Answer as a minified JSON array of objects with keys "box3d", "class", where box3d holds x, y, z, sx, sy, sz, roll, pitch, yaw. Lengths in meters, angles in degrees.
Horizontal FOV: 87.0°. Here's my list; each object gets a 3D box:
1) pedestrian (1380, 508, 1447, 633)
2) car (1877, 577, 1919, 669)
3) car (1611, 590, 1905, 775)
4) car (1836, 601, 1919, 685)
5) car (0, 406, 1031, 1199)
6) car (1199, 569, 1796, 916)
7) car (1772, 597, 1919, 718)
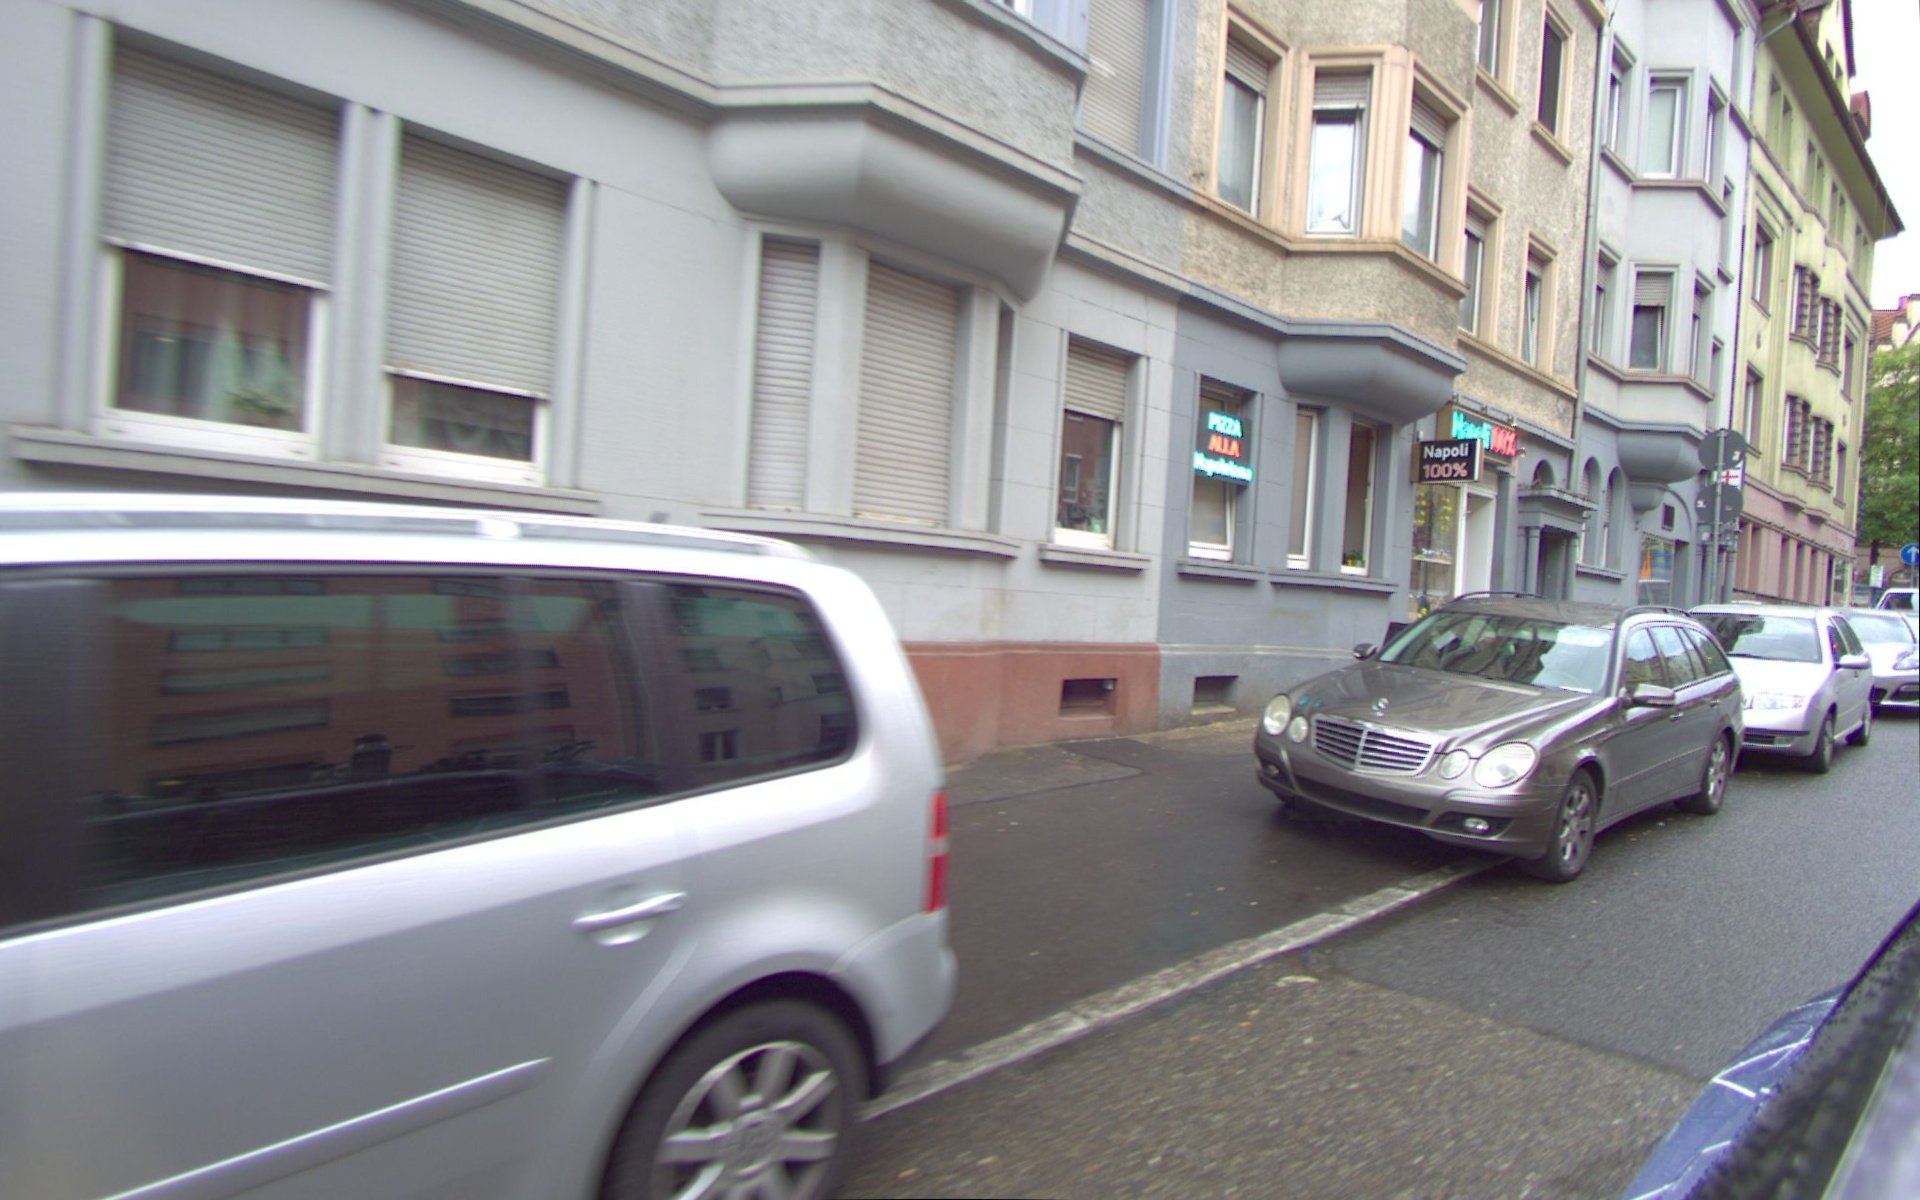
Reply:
[{"box3d":[6.115,-0.400,13.654,0.612,1.639,0.418,2,2,-10],"class":"pedestrian"},{"box3d":[21.874,0.523,22.220,4.921,1.849,1.924,0,3,-41],"class":"car"},{"box3d":[8.189,0.685,10.265,3.945,1.493,1.614,0,1,-41],"class":"car"},{"box3d":[17.628,0.744,18.615,4.201,1.392,1.681,0,1,-41],"class":"car"},{"box3d":[-2.013,0.518,1.845,4.213,1.690,1.730,0,4,-41],"class":"car"},{"box3d":[3.920,0.661,6.973,4.713,1.495,1.905,0,5,-40],"class":"car"},{"box3d":[13.342,0.719,14.850,1.875,1.485,4.701,2,1,43],"class":"car"}]
